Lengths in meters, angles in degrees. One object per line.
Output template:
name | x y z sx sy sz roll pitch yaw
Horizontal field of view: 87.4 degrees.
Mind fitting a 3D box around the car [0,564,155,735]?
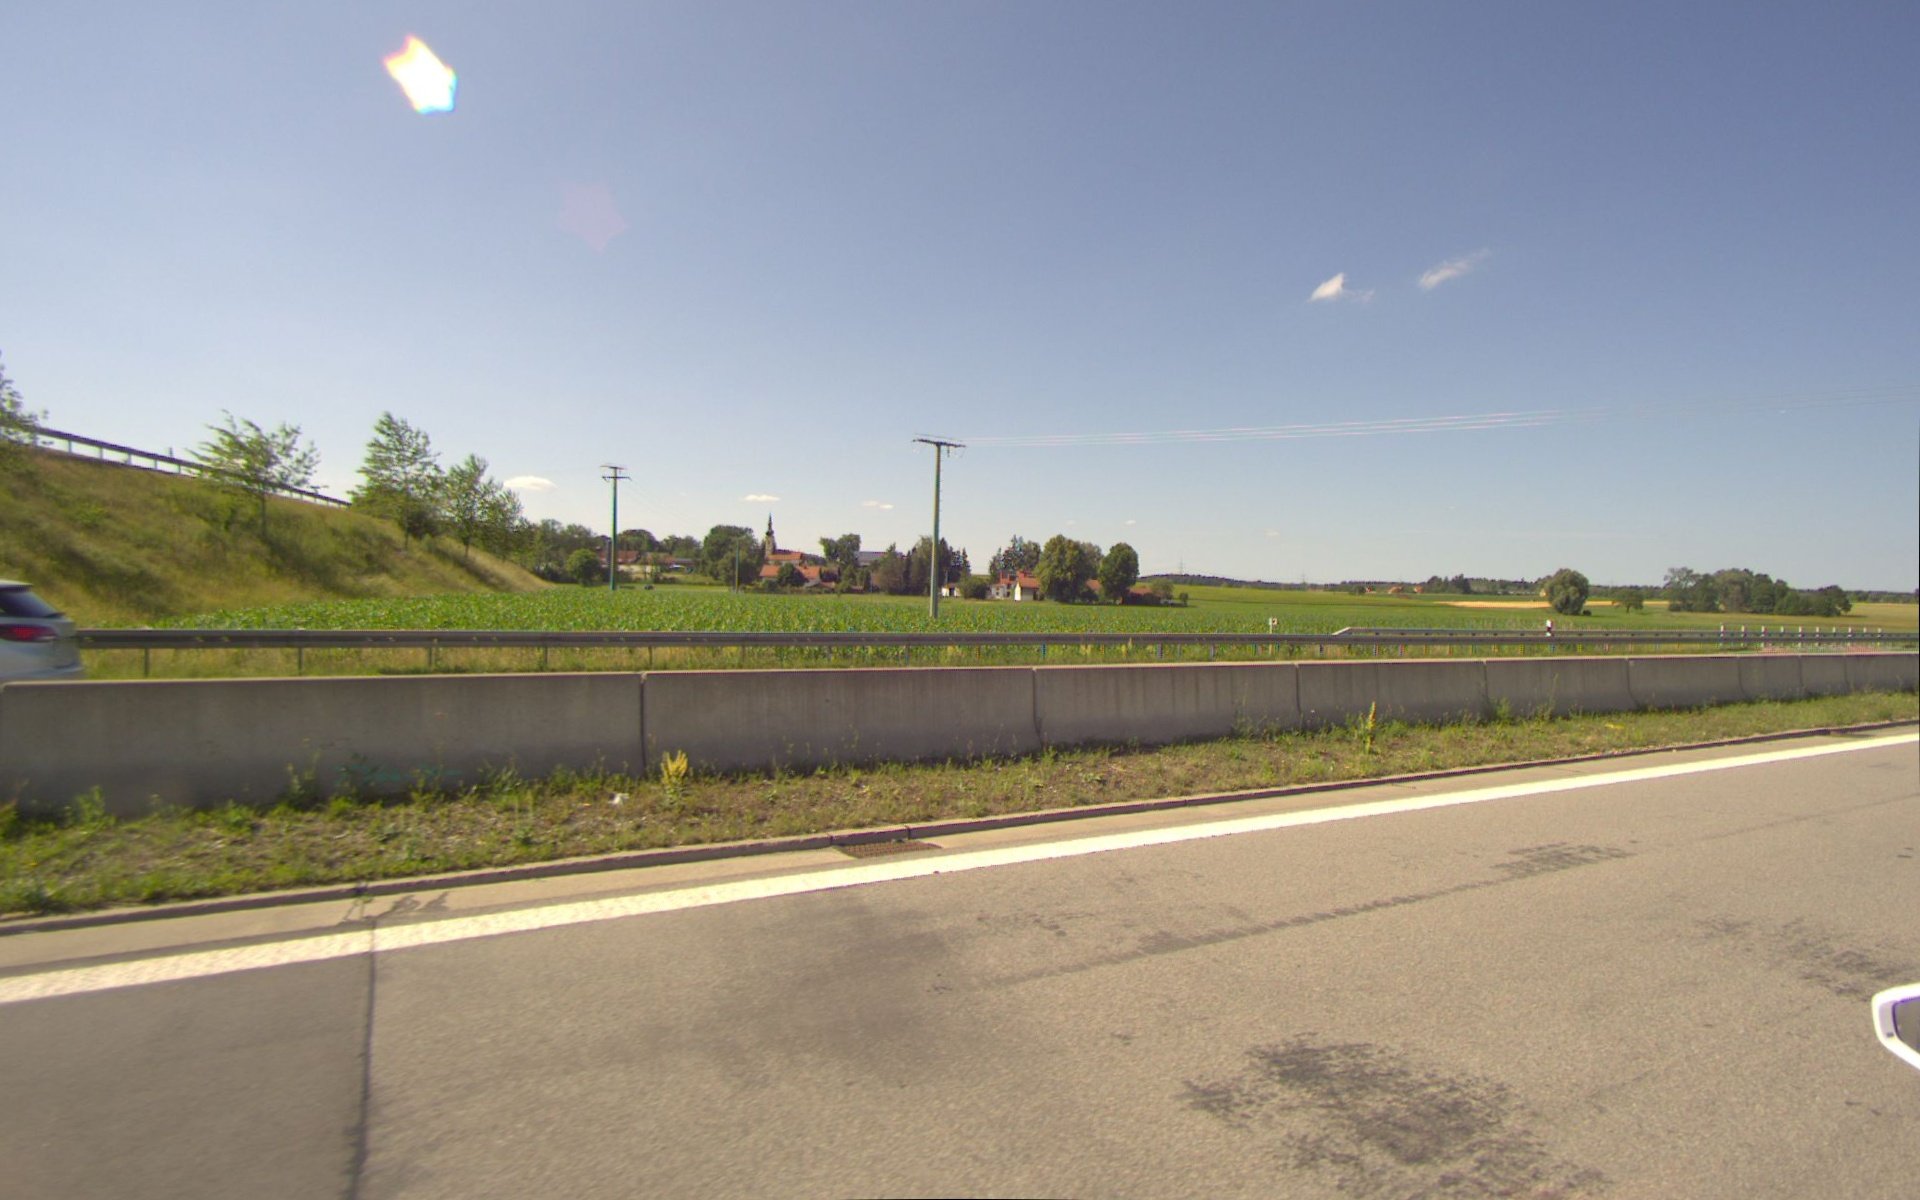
car | -10.983 0.408 9.593 4.840 1.600 1.983 2 1 -31
